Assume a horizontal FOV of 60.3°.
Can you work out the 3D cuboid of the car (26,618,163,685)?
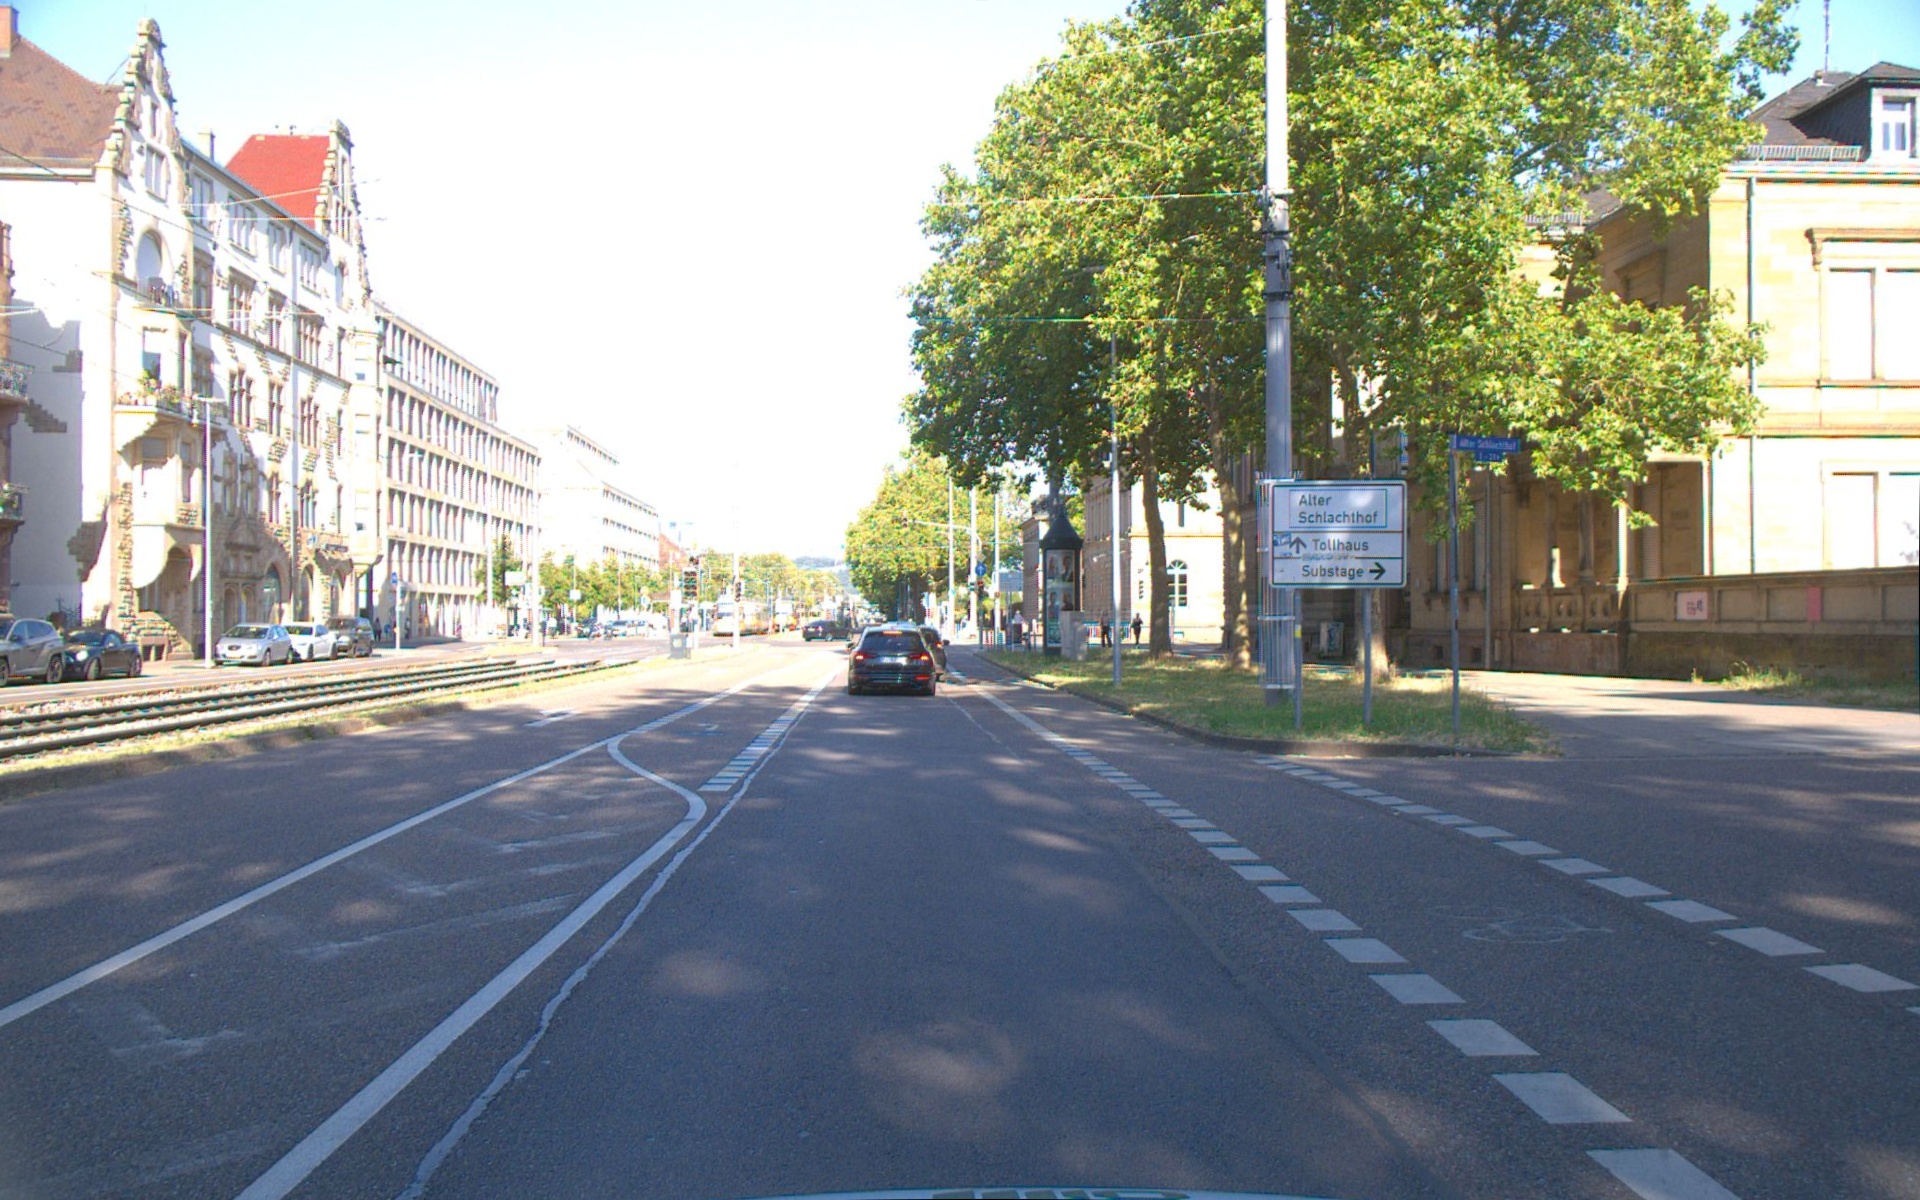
[{"bbox_3d":[-23.765,1.377,45.595,1.653,1.681,4.196,3,-1,-3],"label":"car"}]

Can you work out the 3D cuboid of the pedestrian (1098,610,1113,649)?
[{"bbox_3d":[6.587,1.336,75.000,0.575,1.759,0.650,1,-1,10],"label":"pedestrian"}]

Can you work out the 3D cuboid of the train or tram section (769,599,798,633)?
[{"bbox_3d":[-18.923,1.752,177.512,2.770,3.511,9.055,-1,-1,-4],"label":"train or tram section"}]

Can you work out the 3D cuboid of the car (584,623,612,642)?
[{"bbox_3d":[-29.548,2.622,135.056,1.759,1.537,3.995,-1,-1,-5],"label":"car"}]

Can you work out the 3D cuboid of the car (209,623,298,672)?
[{"bbox_3d":[-24.639,1.625,57.817,1.760,1.537,3.993,3,-1,-7],"label":"car"}]

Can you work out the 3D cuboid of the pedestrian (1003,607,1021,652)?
[{"bbox_3d":[2.057,1.169,65.262,0.575,1.759,0.650,1,-1,10],"label":"pedestrian"}]

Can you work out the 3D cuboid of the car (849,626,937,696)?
[{"bbox_3d":[-1.485,1.275,35.890,1.797,1.415,4.156,0,-1,-4],"label":"car"}]

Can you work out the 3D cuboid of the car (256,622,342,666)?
[{"bbox_3d":[-25.206,1.666,63.193,1.759,1.537,4.181,3,-1,-4],"label":"car"}]

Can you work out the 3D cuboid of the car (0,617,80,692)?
[{"bbox_3d":[-23.483,1.299,40.540,1.653,1.681,4.196,3,-1,-3],"label":"car"}]

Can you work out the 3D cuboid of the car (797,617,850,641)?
[{"bbox_3d":[-9.152,1.969,111.168,1.759,1.537,3.996,0,-2,25],"label":"car"}]

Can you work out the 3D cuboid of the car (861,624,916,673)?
[{"bbox_3d":[-2.363,1.575,54.890,1.758,1.537,3.998,-1,-1,-2],"label":"car"}]

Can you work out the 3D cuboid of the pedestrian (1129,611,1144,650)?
[{"bbox_3d":[7.993,1.388,74.902,0.575,1.759,0.650,1,-1,12],"label":"pedestrian"}]

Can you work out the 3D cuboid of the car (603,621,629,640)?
[{"bbox_3d":[-29.467,2.599,141.834,1.759,1.537,3.995,-1,-1,-5],"label":"car"}]

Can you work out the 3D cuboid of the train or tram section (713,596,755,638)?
[{"bbox_3d":[-19.874,1.487,145.907,2.769,3.511,9.058,-1,-1,-3],"label":"train or tram section"}]

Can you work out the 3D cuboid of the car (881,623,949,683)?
[{"bbox_3d":[-1.258,1.417,45.371,1.758,1.537,3.998,-1,-1,-2],"label":"car"}]

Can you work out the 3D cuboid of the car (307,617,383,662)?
[{"bbox_3d":[-25.557,1.617,68.831,1.759,1.749,4.181,3,-1,-4],"label":"car"}]
